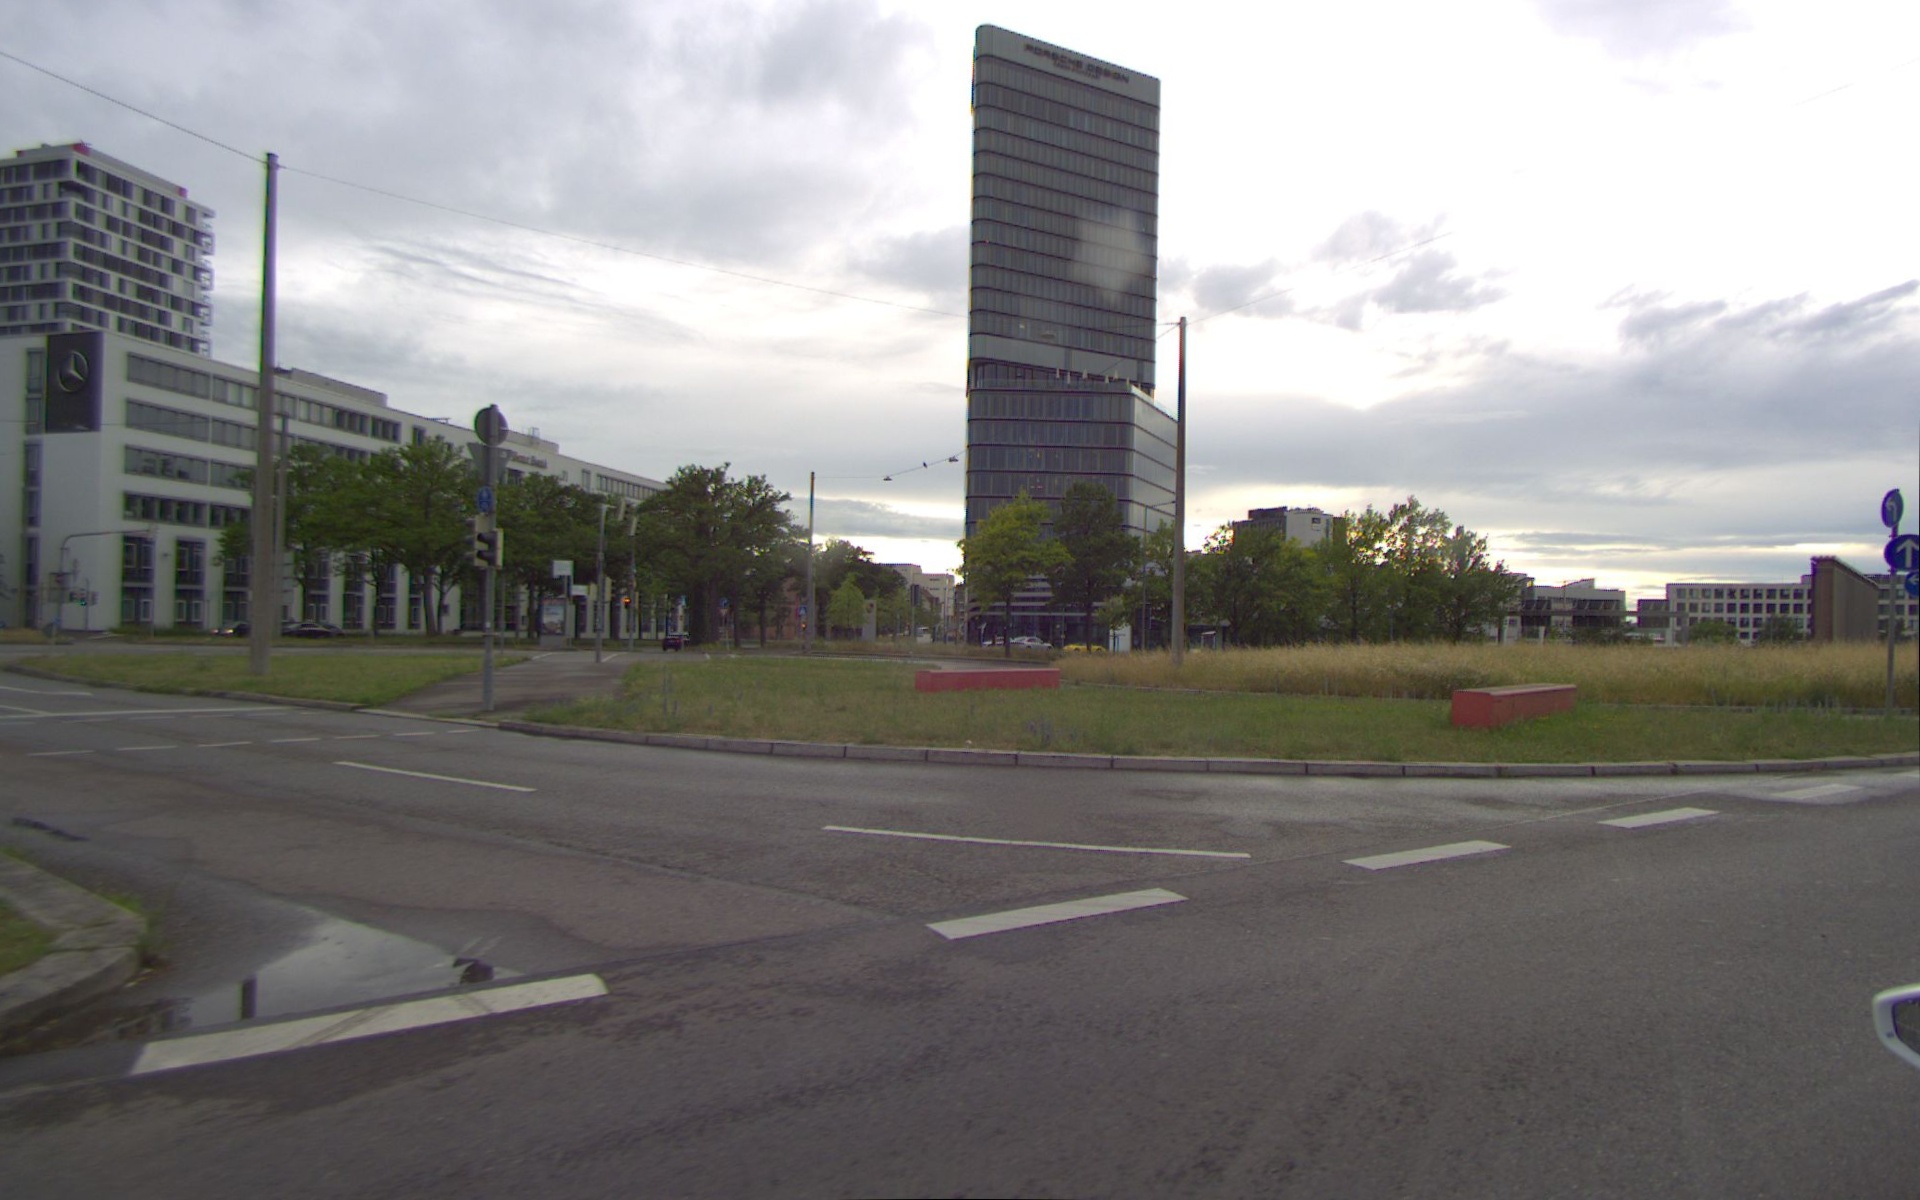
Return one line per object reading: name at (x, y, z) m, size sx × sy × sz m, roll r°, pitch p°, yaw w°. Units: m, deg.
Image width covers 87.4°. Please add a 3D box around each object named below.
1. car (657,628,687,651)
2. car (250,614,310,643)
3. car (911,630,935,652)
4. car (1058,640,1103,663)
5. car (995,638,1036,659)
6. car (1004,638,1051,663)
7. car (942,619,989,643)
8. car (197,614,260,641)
car at (-23.233, 3.177, 81.189) m, size 1.865 × 1.698 × 3.708 m, roll 1°, pitch -1°, yaw -9°
car at (-45.512, 1.886, 67.343) m, size 1.865 × 1.698 × 3.707 m, roll 2°, pitch 0°, yaw -9°
car at (-3.497, 3.887, 96.551) m, size 1.960 × 1.873 × 4.000 m, roll 2°, pitch 0°, yaw 2°
car at (12.035, 5.156, 100.452) m, size 3.932 × 2.040 × 1.994 m, roll 2°, pitch 1°, yaw -14°
car at (6.039, 5.260, 108.666) m, size 3.938 × 2.040 × 1.991 m, roll 2°, pitch 1°, yaw -19°
car at (5.914, 4.361, 87.687) m, size 3.974 × 2.040 × 1.973 m, roll 2°, pitch 1°, yaw -45°
car at (0.536, 2.782, 91.500) m, size 3.973 × 2.040 × 1.974 m, roll 2°, pitch 1°, yaw -44°
car at (-48.799, 1.829, 67.096) m, size 1.865 × 1.698 × 3.708 m, roll 1°, pitch -1°, yaw -9°
